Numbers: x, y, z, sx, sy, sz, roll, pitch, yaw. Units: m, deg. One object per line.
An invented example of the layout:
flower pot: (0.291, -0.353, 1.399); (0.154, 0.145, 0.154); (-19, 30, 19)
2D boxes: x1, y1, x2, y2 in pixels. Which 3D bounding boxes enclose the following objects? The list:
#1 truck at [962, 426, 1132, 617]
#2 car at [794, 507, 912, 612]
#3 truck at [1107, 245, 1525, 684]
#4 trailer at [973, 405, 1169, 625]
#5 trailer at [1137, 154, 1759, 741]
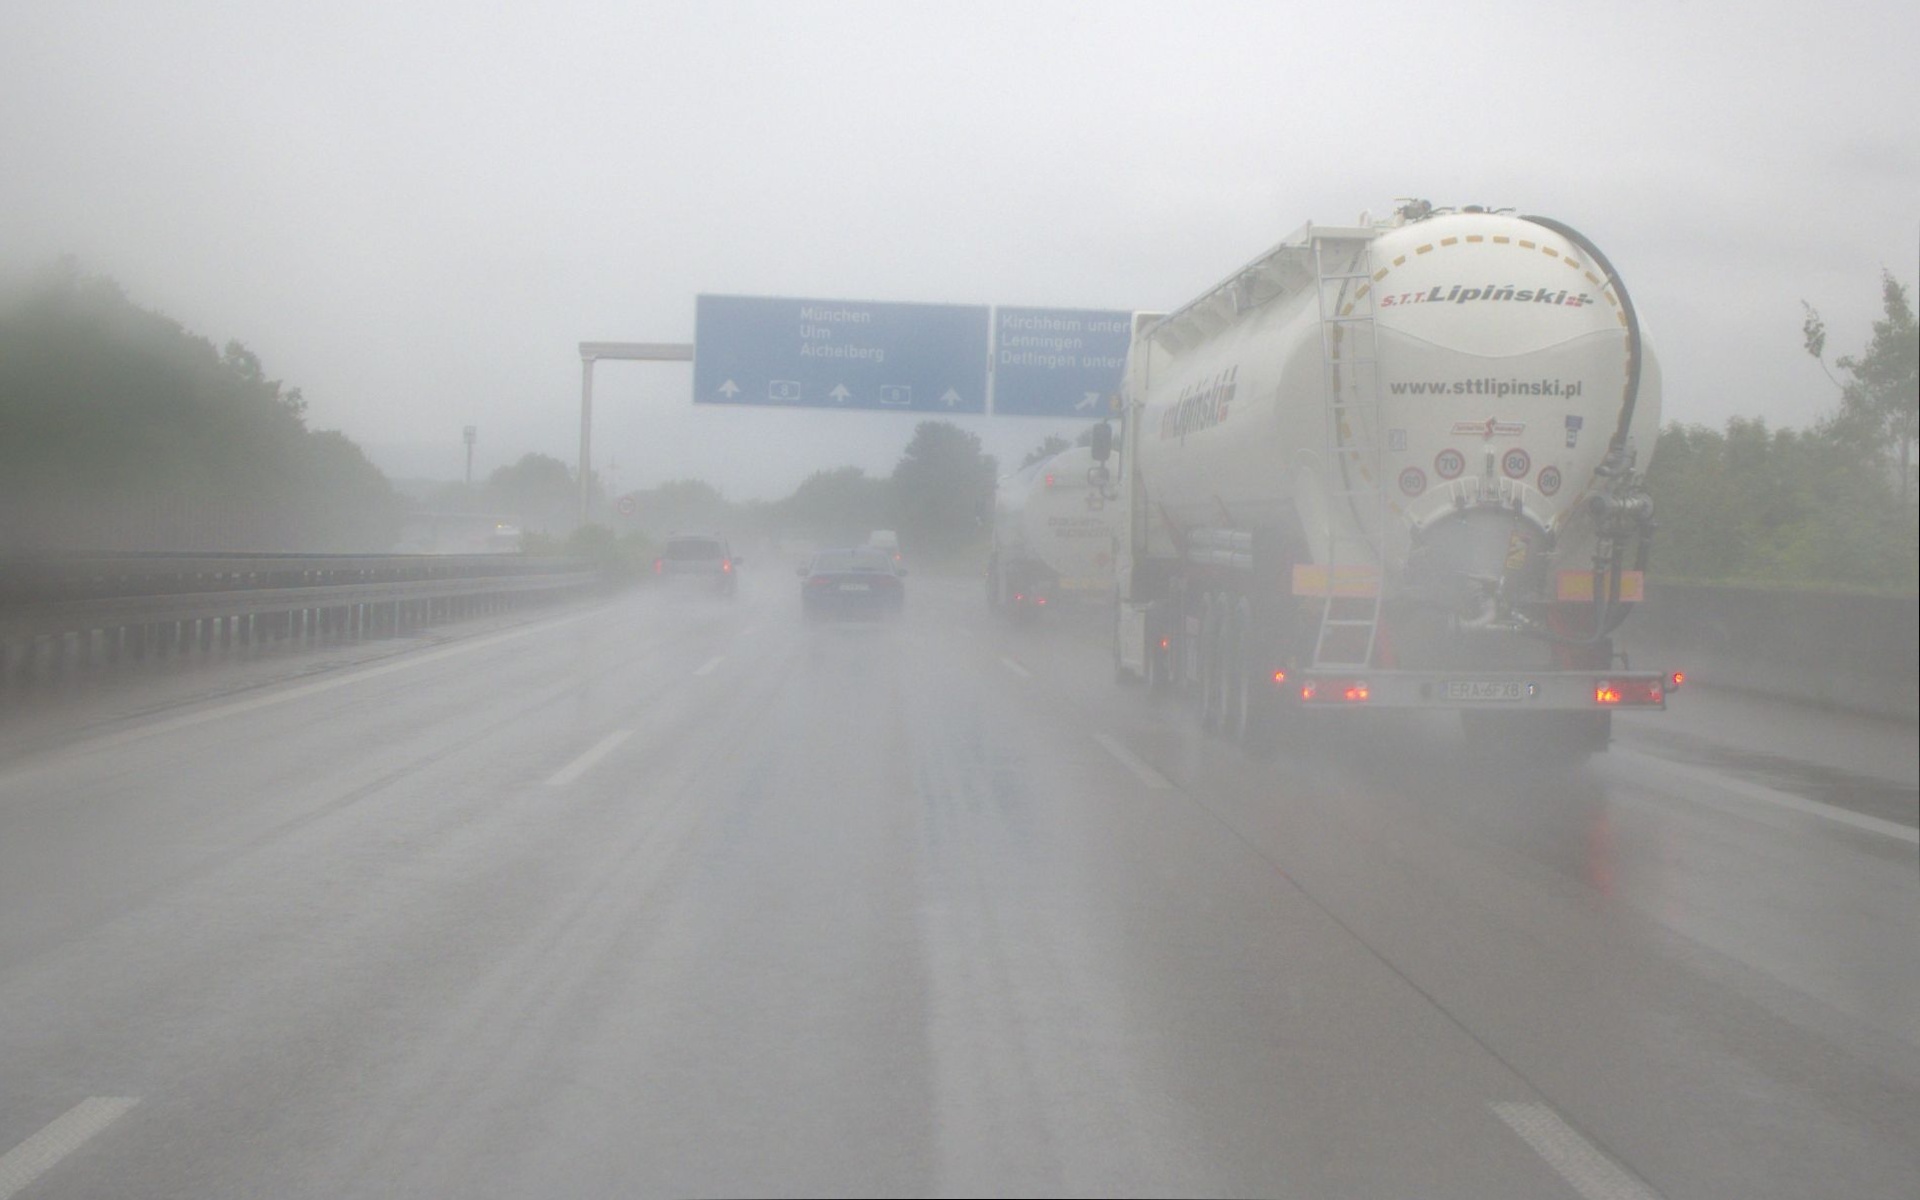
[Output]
truck: (1.688, -1.581, 69.929); (2.943, 3.671, 6.362); (1, 1, -3)
car: (-1.850, -0.731, 60.489); (1.978, 1.750, 4.482); (1, 1, -1)
truck: (3.284, -1.272, 33.824); (3.104, 3.793, 7.213); (1, 1, -1)
trailer: (1.968, -1.568, 64.927); (3.004, 3.834, 8.625); (1, 1, -2)
trailer: (3.395, -1.098, 27.648); (3.188, 3.657, 11.667); (1, 1, 0)
